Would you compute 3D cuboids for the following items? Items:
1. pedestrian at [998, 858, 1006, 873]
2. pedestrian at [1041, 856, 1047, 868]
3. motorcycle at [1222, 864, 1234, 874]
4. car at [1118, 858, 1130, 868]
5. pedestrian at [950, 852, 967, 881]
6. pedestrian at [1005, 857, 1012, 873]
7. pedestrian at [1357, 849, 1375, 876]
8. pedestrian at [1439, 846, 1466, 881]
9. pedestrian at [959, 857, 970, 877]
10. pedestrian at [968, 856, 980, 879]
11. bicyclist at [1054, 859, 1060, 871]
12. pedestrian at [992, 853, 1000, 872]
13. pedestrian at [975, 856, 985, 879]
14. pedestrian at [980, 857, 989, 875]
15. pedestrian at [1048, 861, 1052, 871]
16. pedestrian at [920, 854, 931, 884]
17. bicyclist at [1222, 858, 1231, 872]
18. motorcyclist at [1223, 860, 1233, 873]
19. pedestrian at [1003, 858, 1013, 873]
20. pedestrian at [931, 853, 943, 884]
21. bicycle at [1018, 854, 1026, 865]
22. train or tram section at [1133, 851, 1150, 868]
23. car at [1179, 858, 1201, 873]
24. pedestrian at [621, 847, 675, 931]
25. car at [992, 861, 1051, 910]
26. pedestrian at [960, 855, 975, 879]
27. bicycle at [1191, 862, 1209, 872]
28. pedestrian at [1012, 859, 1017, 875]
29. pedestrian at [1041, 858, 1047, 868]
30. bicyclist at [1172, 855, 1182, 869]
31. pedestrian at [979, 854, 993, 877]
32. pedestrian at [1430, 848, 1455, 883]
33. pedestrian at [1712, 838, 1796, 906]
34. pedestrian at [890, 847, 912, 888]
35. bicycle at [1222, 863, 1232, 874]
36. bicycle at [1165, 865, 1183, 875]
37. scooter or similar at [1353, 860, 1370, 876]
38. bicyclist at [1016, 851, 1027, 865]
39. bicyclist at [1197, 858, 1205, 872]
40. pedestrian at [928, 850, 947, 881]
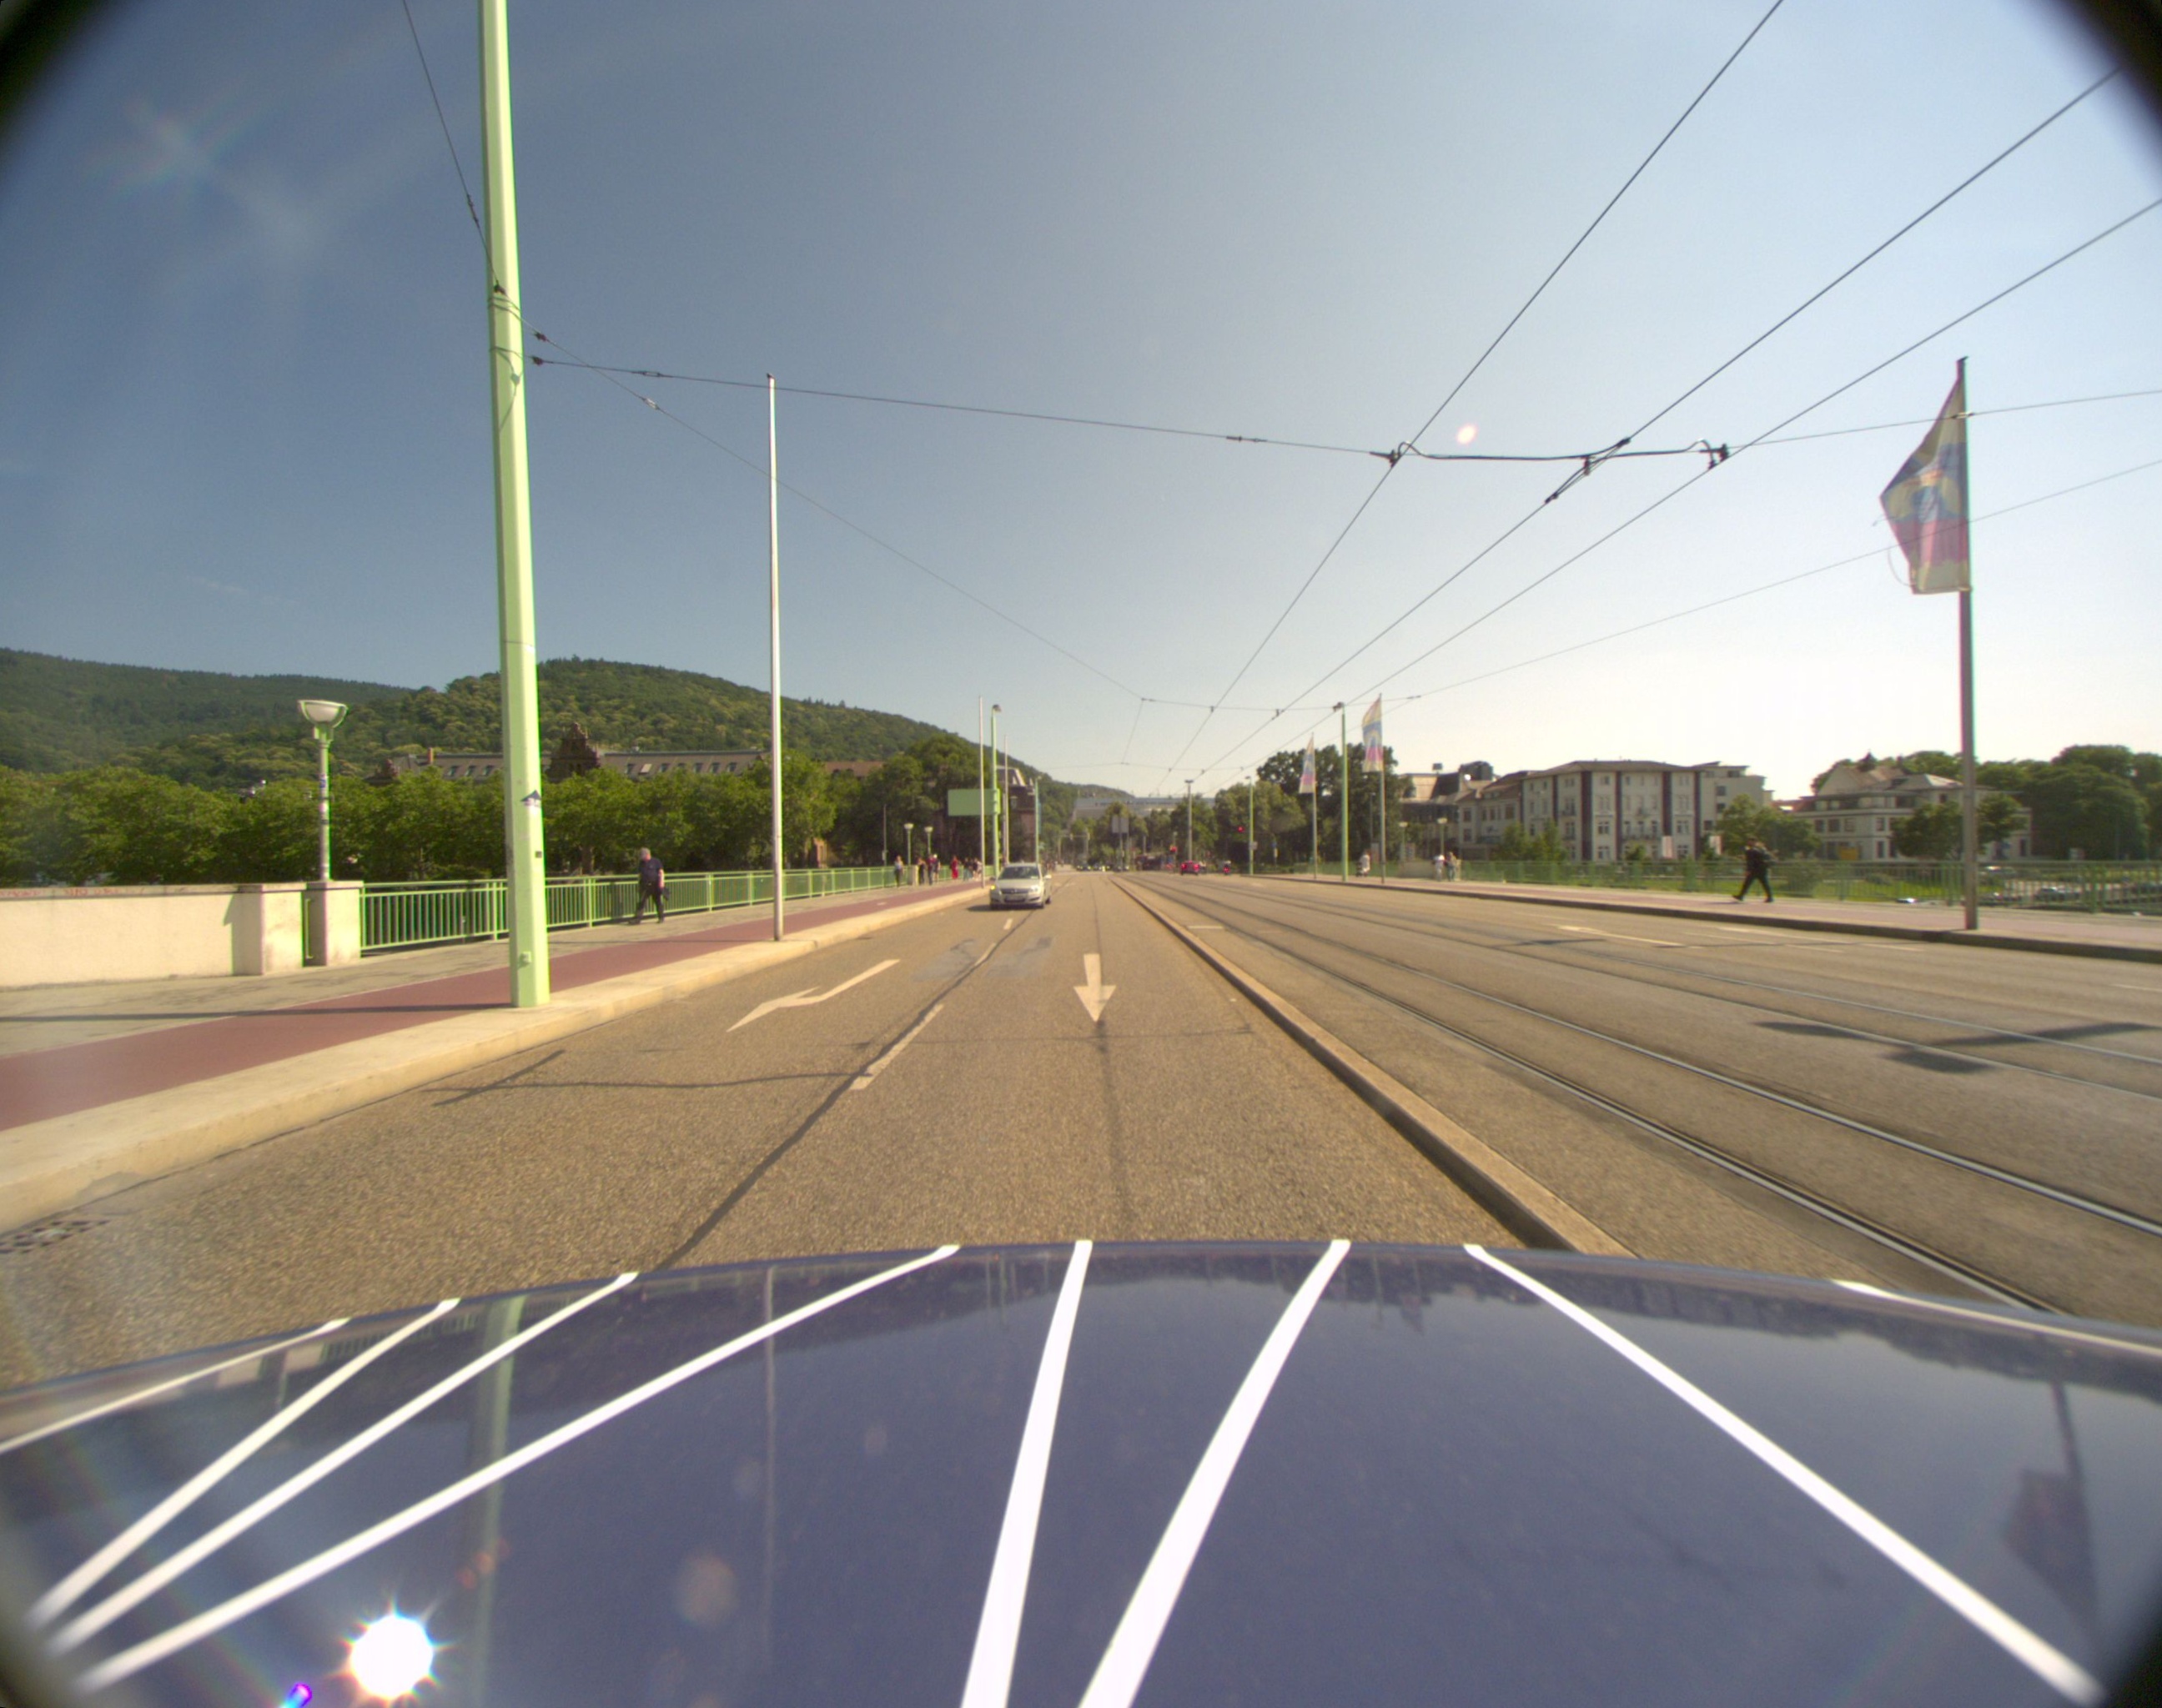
[{"bbox_3d":[-8.693,1.283,83.502,0.801,1.625,0.949,0,0,-8],"label":"pedestrian"},{"bbox_3d":[-6.180,1.395,127.478,0.814,2.001,0.815,2,0,-5],"label":"pedestrian"},{"bbox_3d":[15.543,1.562,80.261,0.847,1.019,1.951,-2,0,-1],"label":"motorcycle"},{"bbox_3d":[6.959,1.452,123.033,1.752,1.477,4.747,1,-1,0],"label":"car"},{"bbox_3d":[-8.240,0.841,51.229,1.018,1.942,0.939,-1,1,-2],"label":"pedestrian"},{"bbox_3d":[-7.788,1.213,81.686,0.697,1.706,0.731,-1,1,-5],"label":"pedestrian"},{"bbox_3d":[19.585,0.579,52.169,0.740,1.842,0.975,-4,0,-2],"label":"pedestrian"},{"bbox_3d":[19.736,0.505,40.416,0.740,1.838,1.121,-4,0,-2],"label":"pedestrian"},{"bbox_3d":[-9.395,1.056,61.287,0.651,1.622,0.692,-2,0,1],"label":"pedestrian"},{"bbox_3d":[-8.037,1.001,56.995,0.836,1.667,0.885,-1,1,-5],"label":"pedestrian"},{"bbox_3d":[-4.092,1.907,127.659,0.944,2.002,0.830,0,0,-5],"label":"bicyclist"},{"bbox_3d":[-8.933,0.899,79.549,0.805,2.002,0.954,-1,1,-5],"label":"pedestrian"},{"bbox_3d":[-7.243,0.952,54.475,0.656,1.640,0.868,-1,1,-5],"label":"pedestrian"},{"bbox_3d":[-8.138,1.011,63.802,0.651,1.553,0.692,0,0,1],"label":"pedestrian"},{"bbox_3d":[-5.824,2.284,141.060,0.636,1.880,0.903,-1,0,-6],"label":"pedestrian"},{"bbox_3d":[-8.772,0.844,42.850,0.524,1.640,0.699,-1,1,-5],"label":"pedestrian"},{"bbox_3d":[16.761,1.314,87.332,0.879,1.599,0.772,1,-1,3],"label":"bicyclist"},{"bbox_3d":[15.560,1.309,80.455,0.847,1.393,0.898,-2,0,-2],"label":"motorcyclist"},{"bbox_3d":[-7.655,1.207,79.543,0.988,1.606,0.921,-1,1,-5],"label":"pedestrian"},{"bbox_3d":[-8.150,0.813,42.963,0.587,1.783,0.632,-1,1,-4],"label":"pedestrian"},{"bbox_3d":[-5.732,0.507,73.579,0.643,1.076,2.496,0,0,-1],"label":"bicycle"},{"bbox_3d":[12.664,1.157,159.661,2.768,3.383,5.884,0,0,-5],"label":"train or tram section"},{"bbox_3d":[11.352,1.168,79.504,1.998,1.506,4.191,-1,0,4],"label":"car"},{"bbox_3d":[-9.277,0.735,16.308,0.656,1.733,0.978,-1,-1,-5],"label":"pedestrian"},{"bbox_3d":[-2.057,0.995,25.551,1.803,1.492,4.495,0,-1,-6],"label":"car"},{"bbox_3d":[-8.207,0.927,54.980,0.988,1.759,1.254,0,0,-5],"label":"pedestrian"},{"bbox_3d":[13.642,1.532,86.780,1.916,1.107,0.762,-1,1,18],"label":"bicycle"},{"bbox_3d":[-7.155,1.392,82.091,0.550,1.788,0.645,-1,1,-5],"label":"pedestrian"},{"bbox_3d":[-6.076,1.462,124.692,0.814,1.593,0.815,2,0,-5],"label":"pedestrian"},{"bbox_3d":[11.219,0.941,88.828,0.877,1.599,0.773,0,1,28],"label":"bicyclist"},{"bbox_3d":[-7.162,0.849,57.119,0.988,1.740,0.929,-1,1,-5],"label":"pedestrian"},{"bbox_3d":[19.154,0.591,40.233,0.740,1.774,0.957,-4,0,-2],"label":"pedestrian"},{"bbox_3d":[18.205,0.475,20.585,1.100,1.748,1.295,-1,0,-2],"label":"pedestrian"},{"bbox_3d":[-9.019,0.661,38.100,0.876,2.002,1.058,-1,1,-5],"label":"pedestrian"},{"bbox_3d":[16.784,1.682,87.357,0.760,1.107,1.921,-3,-2,2],"label":"bicycle"},{"bbox_3d":[10.918,1.888,89.014,1.915,1.107,0.762,-1,1,28],"label":"bicycle"},{"bbox_3d":[19.588,0.974,53.081,0.740,1.023,0.832,-4,0,-2],"label":"scooter or similar"},{"bbox_3d":[-5.763,0.374,73.607,0.912,1.385,1.233,0,0,-1],"label":"bicyclist"},{"bbox_3d":[13.717,1.275,86.743,0.770,1.599,0.881,-1,1,18],"label":"bicyclist"},{"bbox_3d":[-8.963,0.721,47.468,0.987,1.884,1.254,-1,1,-4],"label":"pedestrian"}]
